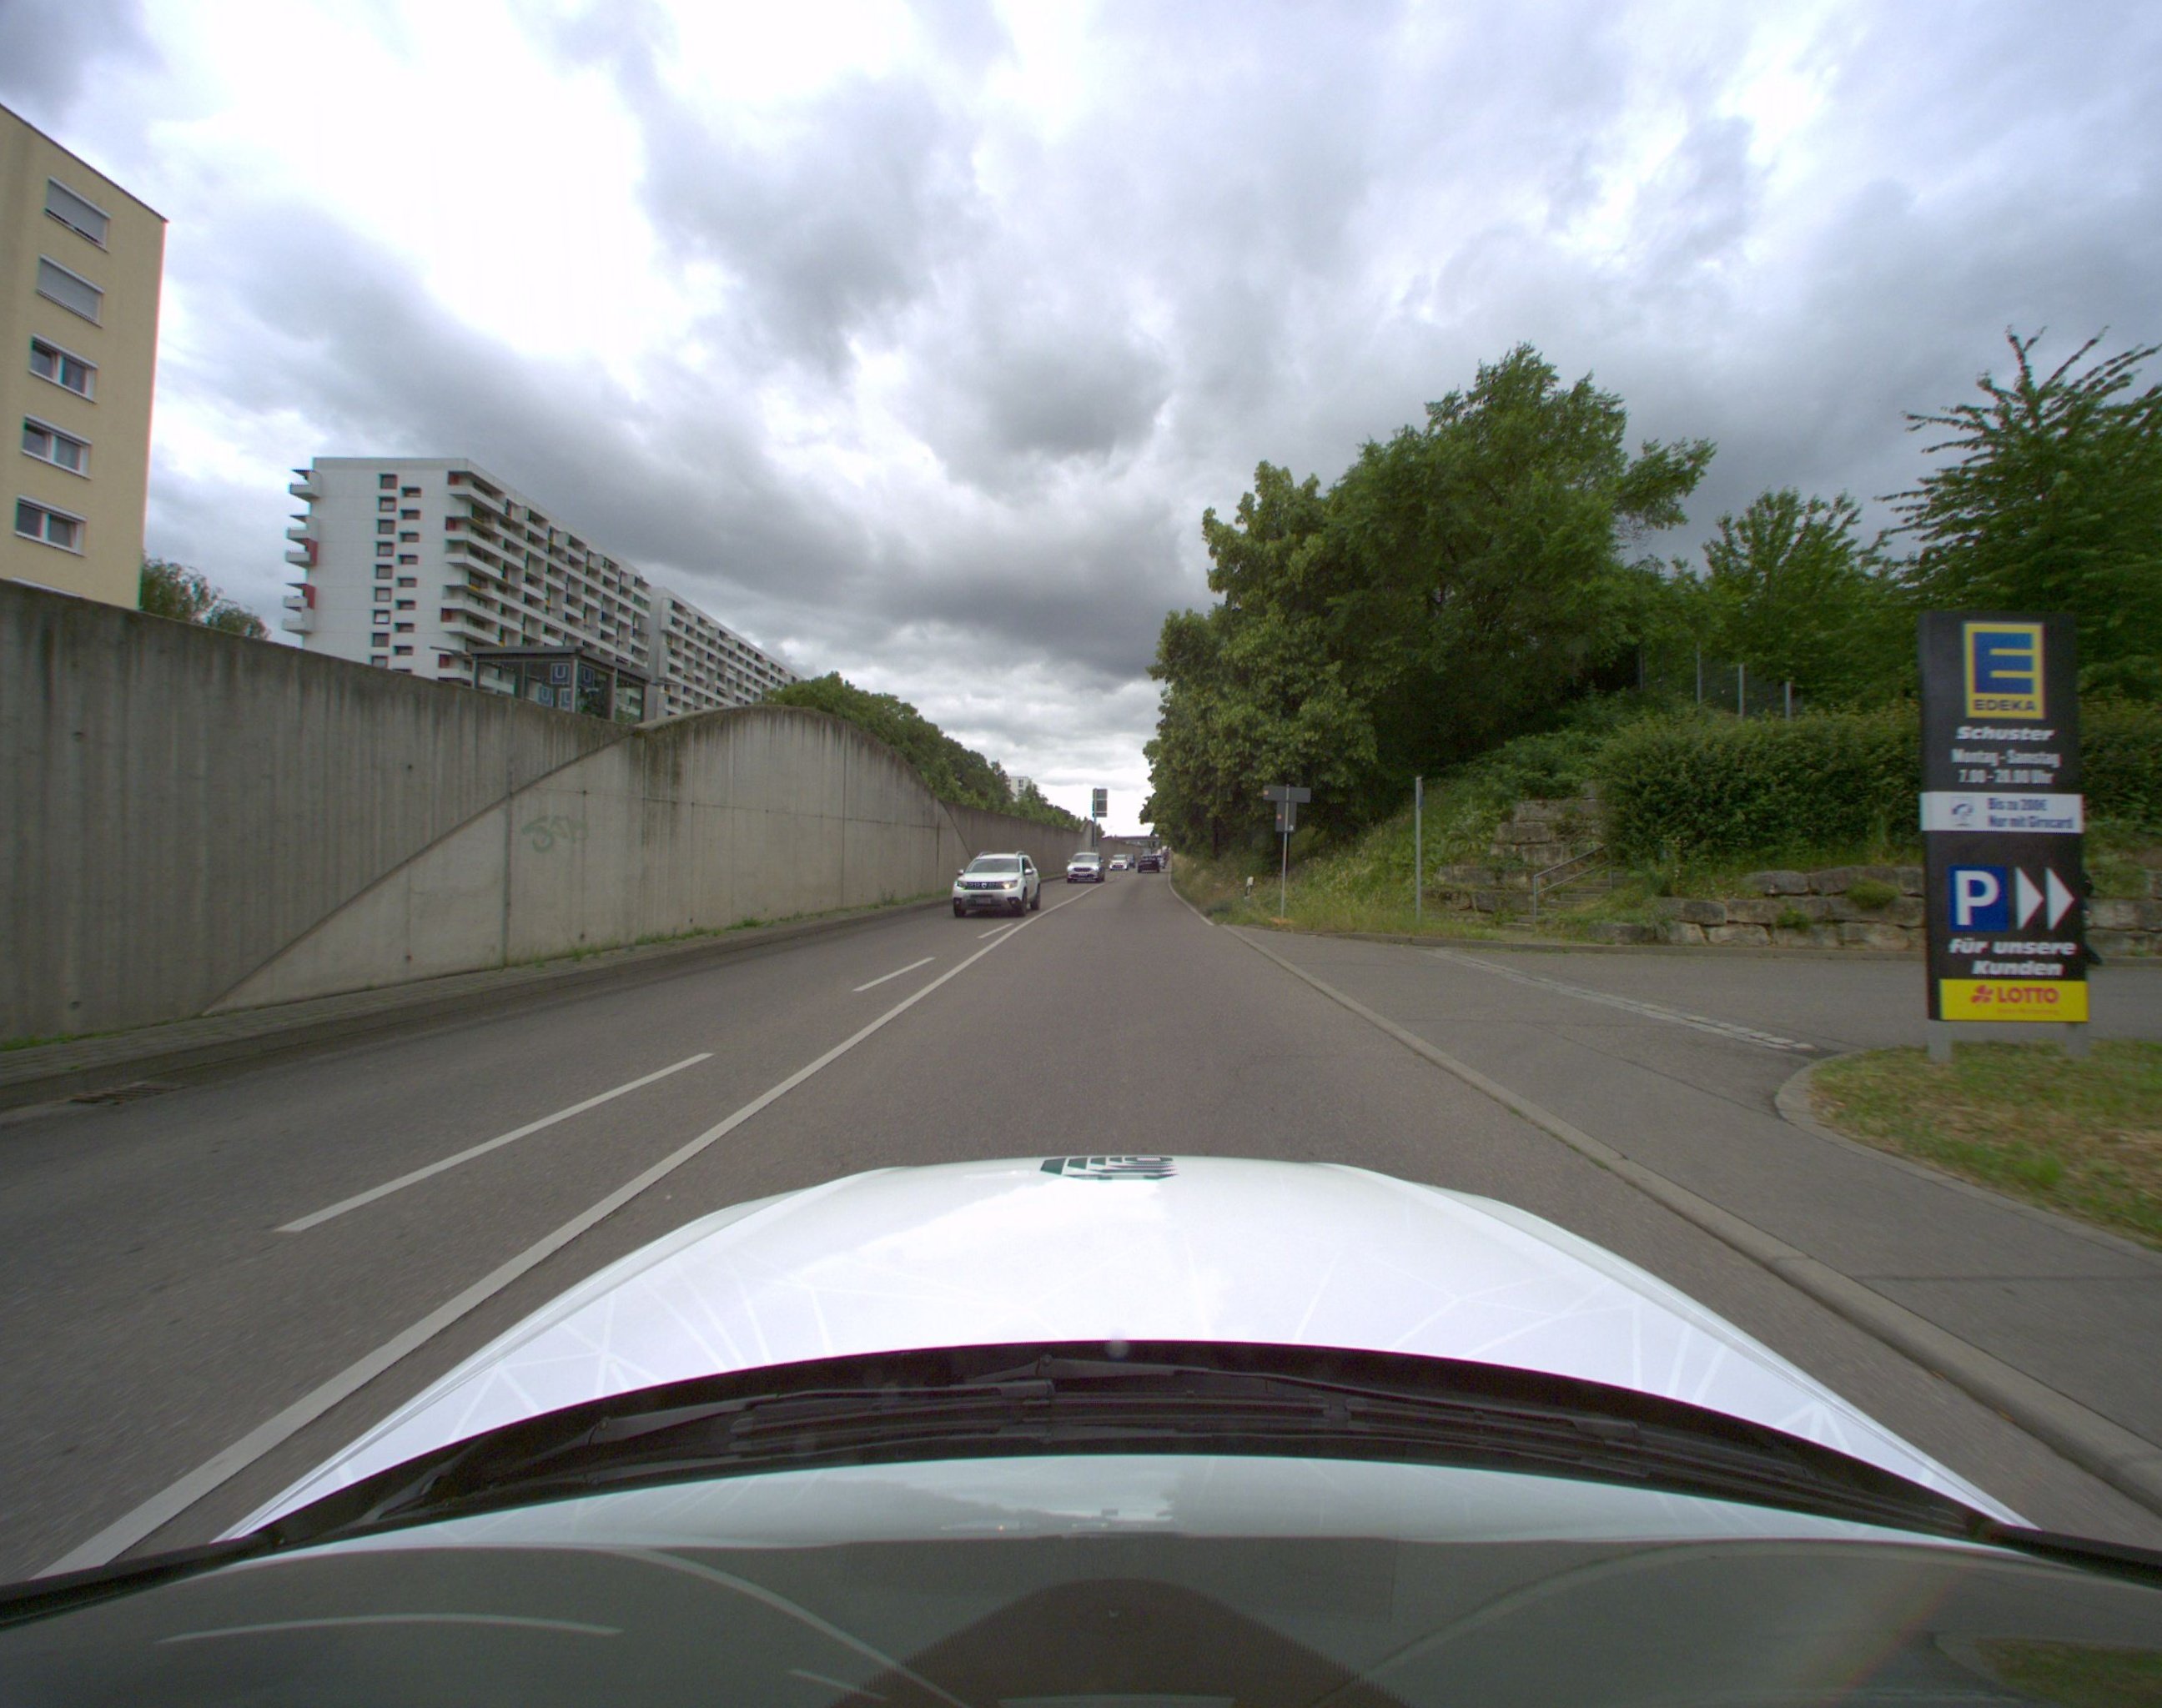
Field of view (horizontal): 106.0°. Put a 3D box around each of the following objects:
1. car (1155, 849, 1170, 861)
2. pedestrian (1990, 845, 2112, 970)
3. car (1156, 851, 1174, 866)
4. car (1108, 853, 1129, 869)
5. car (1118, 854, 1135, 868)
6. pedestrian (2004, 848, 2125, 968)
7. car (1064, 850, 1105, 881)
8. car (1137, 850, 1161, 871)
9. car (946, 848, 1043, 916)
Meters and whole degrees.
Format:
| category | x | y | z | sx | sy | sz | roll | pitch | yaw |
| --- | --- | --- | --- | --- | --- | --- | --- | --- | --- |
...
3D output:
| category | x | y | z | sx | sy | sz | roll | pitch | yaw |
| --- | --- | --- | --- | --- | --- | --- | --- | --- | --- |
| car | 10.777 | 0.187 | 108.544 | 1.858 | 1.490 | 4.262 | 3 | 0 | 5 |
| pedestrian | 13.355 | 0.716 | 11.241 | 0.727 | 1.658 | 0.807 | 0 | -1 | 9 |
| car | 8.712 | 0.479 | 83.908 | 1.745 | 1.523 | 4.044 | -1 | -2 | 7 |
| car | 3.579 | 0.622 | 76.734 | 1.907 | 1.495 | 4.212 | 0 | 0 | 4 |
| car | 5.099 | 0.804 | 91.090 | 1.760 | 1.495 | 4.212 | 0 | 0 | 4 |
| pedestrian | 14.349 | 0.758 | 11.909 | 0.785 | 1.689 | 0.807 | 0 | -1 | 9 |
| car | 0.252 | 0.600 | 45.235 | 1.881 | 1.632 | 4.433 | 0 | 0 | 5 |
| car | 5.581 | 0.581 | 66.901 | 1.745 | 1.523 | 4.043 | -3 | -2 | 6 |
| car | -2.197 | 0.677 | 21.777 | 1.853 | 1.632 | 4.212 | 0 | 0 | 4 |
